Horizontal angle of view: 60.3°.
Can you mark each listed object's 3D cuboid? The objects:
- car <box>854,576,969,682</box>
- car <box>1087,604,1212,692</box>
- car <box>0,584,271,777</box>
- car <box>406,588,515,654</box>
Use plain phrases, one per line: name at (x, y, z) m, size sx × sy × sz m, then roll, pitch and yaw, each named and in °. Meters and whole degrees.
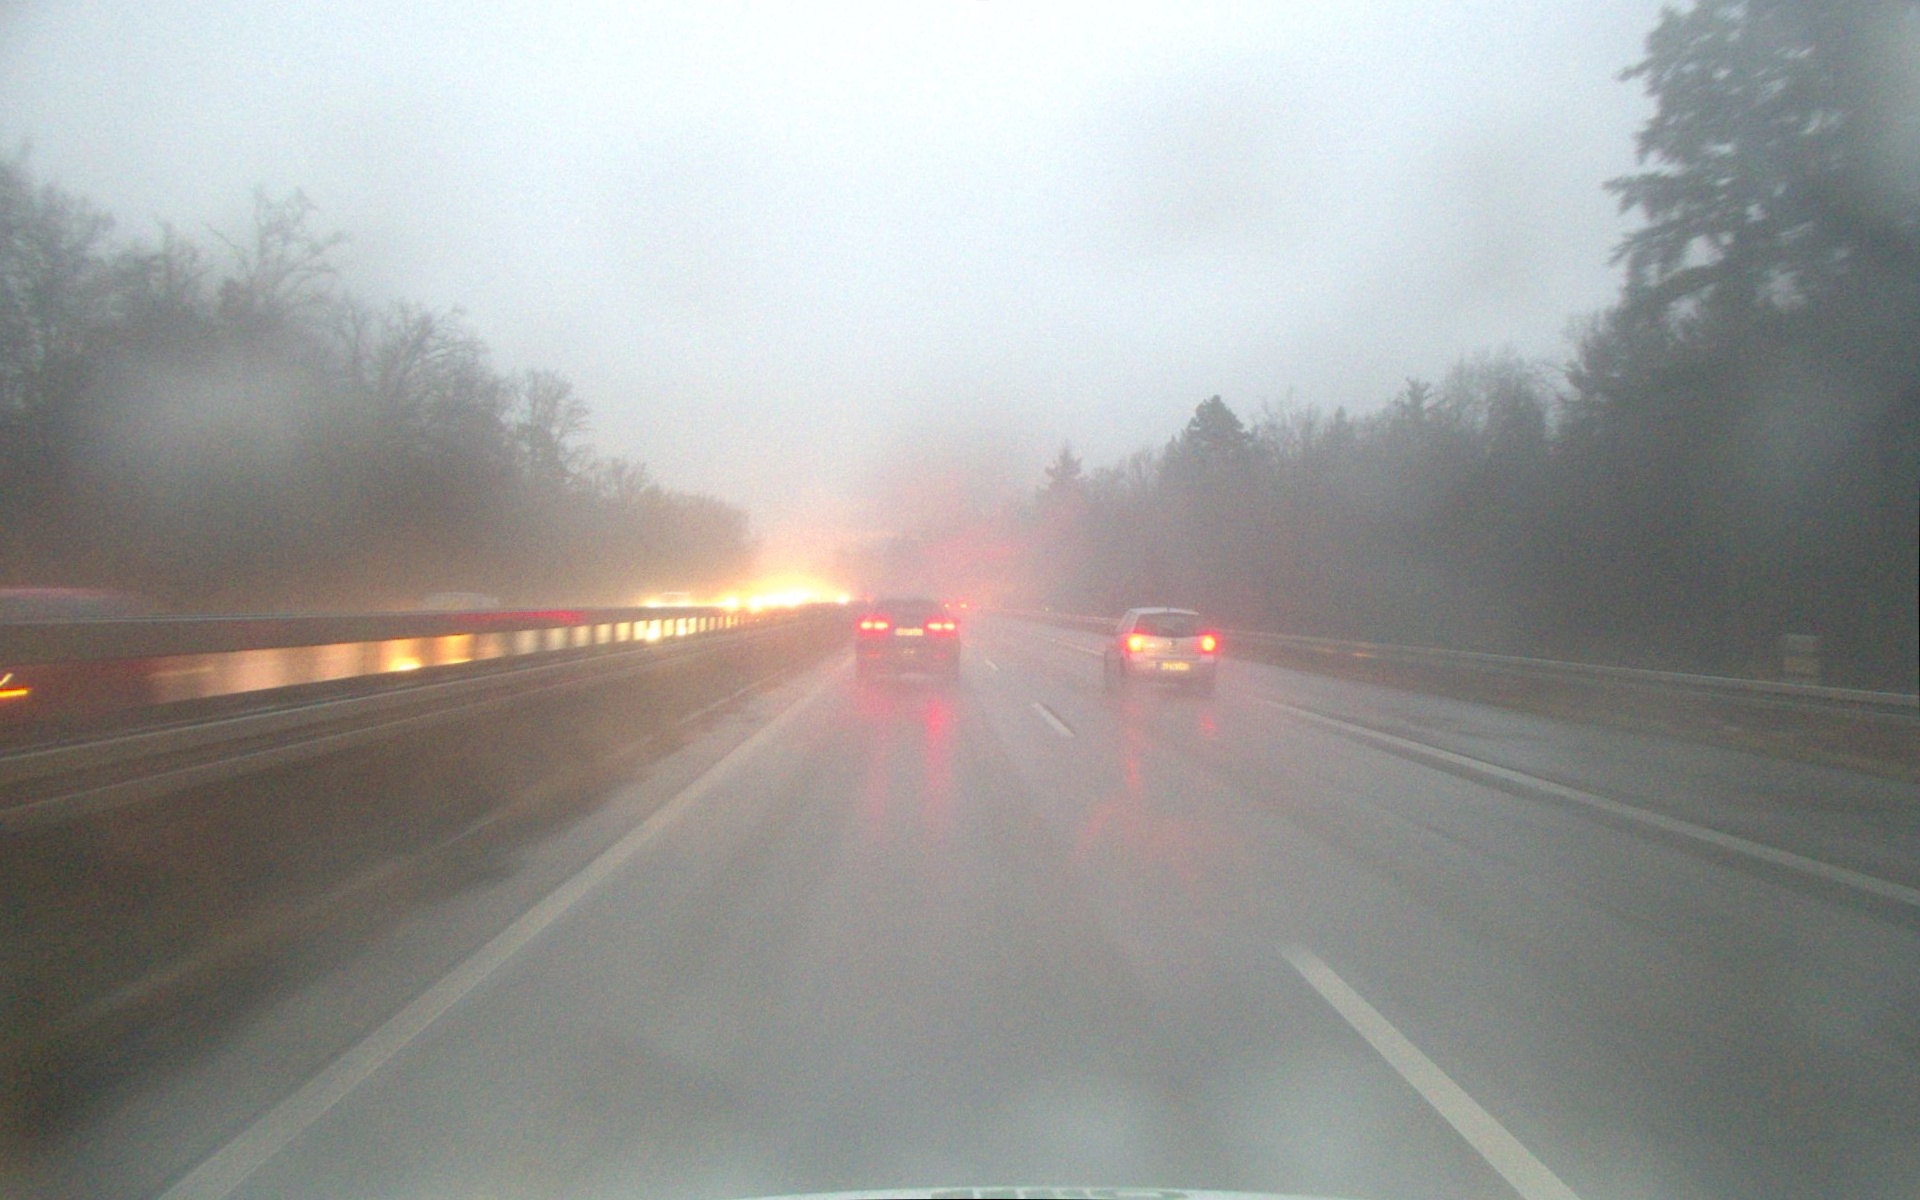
car at (-0.926, 0.492, 30.575) m, size 1.946 × 1.798 × 4.171 m, roll 1°, pitch 0°, yaw -3°
car at (3.345, 0.816, 29.838) m, size 1.744 × 1.462 × 3.536 m, roll 1°, pitch 0°, yaw -2°
car at (-7.991, 0.621, 15.160) m, size 1.643 × 1.520 × 4.257 m, roll 1°, pitch 0°, yaw -1°
car at (-11.936, 0.472, 39.731) m, size 1.610 × 1.506 × 3.647 m, roll 1°, pitch 0°, yaw -2°
